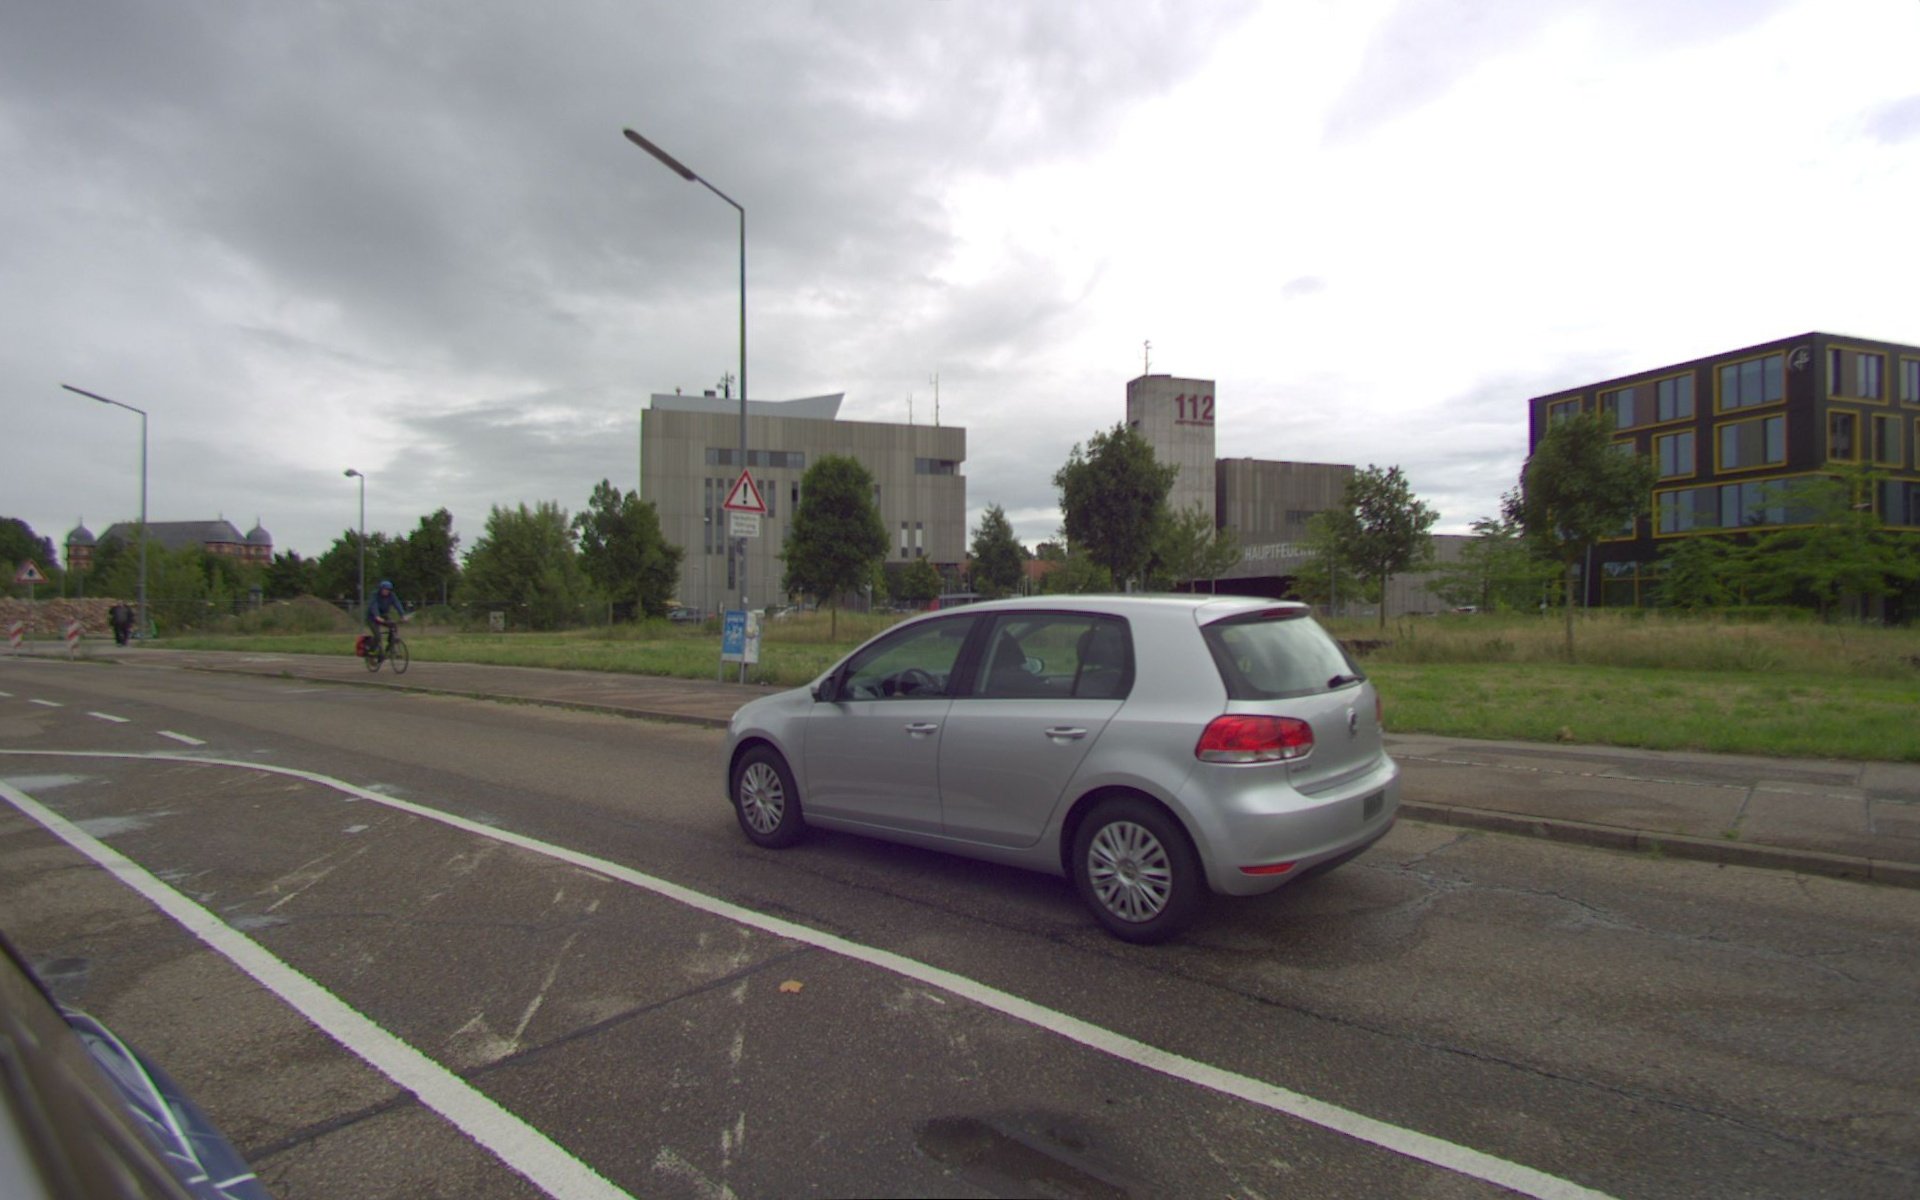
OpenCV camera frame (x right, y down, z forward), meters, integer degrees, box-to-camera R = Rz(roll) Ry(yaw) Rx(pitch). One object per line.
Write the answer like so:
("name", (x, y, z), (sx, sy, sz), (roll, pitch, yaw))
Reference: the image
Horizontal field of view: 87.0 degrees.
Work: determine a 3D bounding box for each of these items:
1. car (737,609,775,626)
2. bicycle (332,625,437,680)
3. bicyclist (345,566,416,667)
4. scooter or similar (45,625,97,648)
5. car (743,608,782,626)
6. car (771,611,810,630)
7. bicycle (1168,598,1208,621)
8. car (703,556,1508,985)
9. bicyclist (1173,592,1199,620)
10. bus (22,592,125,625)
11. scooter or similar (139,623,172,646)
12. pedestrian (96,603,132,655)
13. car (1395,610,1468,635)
("car", (-21.896, 1.835, 108.648), (3.821, 1.774, 1.733), (0, -1, -18))
("bicycle", (-11.905, 1.070, 20.905), (2.462, 1.060, 0.876), (-2, -2, 34))
("bicyclist", (-12.019, 0.352, 20.986), (1.174, 2.029, 0.854), (-2, -2, 35))
("scooter or similar", (-44.879, 1.838, 51.111), (1.871, 1.151, 0.659), (-1, 0, -14))
("car", (-20.493, 1.751, 105.060), (3.821, 1.774, 1.733), (0, -1, -18))
("car", (-16.062, 1.950, 95.962), (3.419, 1.774, 1.733), (0, -1, -18))
("bicycle", (15.909, 0.669, 70.660), (2.457, 1.596, 1.090), (0, -2, -20))
("car", (0.485, 0.592, 5.461), (4.056, 1.472, 1.654), (-1, 1, 43))
("bicyclist", (15.782, 0.443, 70.694), (1.378, 1.914, 1.081), (0, -2, -20))
("bus", (-113.318, 1.101, 129.543), (9.723, 4.012, 2.742), (-1, -2, -15))
("scooter or similar", (-42.678, 1.823, 53.709), (1.315, 1.151, 0.413), (0, 1, -29))
("pedestrian", (-29.914, 1.012, 35.786), (1.076, 1.796, 0.835), (-2, -2, 41))
("car", (30.953, 1.492, 66.571), (1.965, 1.535, 4.013), (1, -3, -23))
